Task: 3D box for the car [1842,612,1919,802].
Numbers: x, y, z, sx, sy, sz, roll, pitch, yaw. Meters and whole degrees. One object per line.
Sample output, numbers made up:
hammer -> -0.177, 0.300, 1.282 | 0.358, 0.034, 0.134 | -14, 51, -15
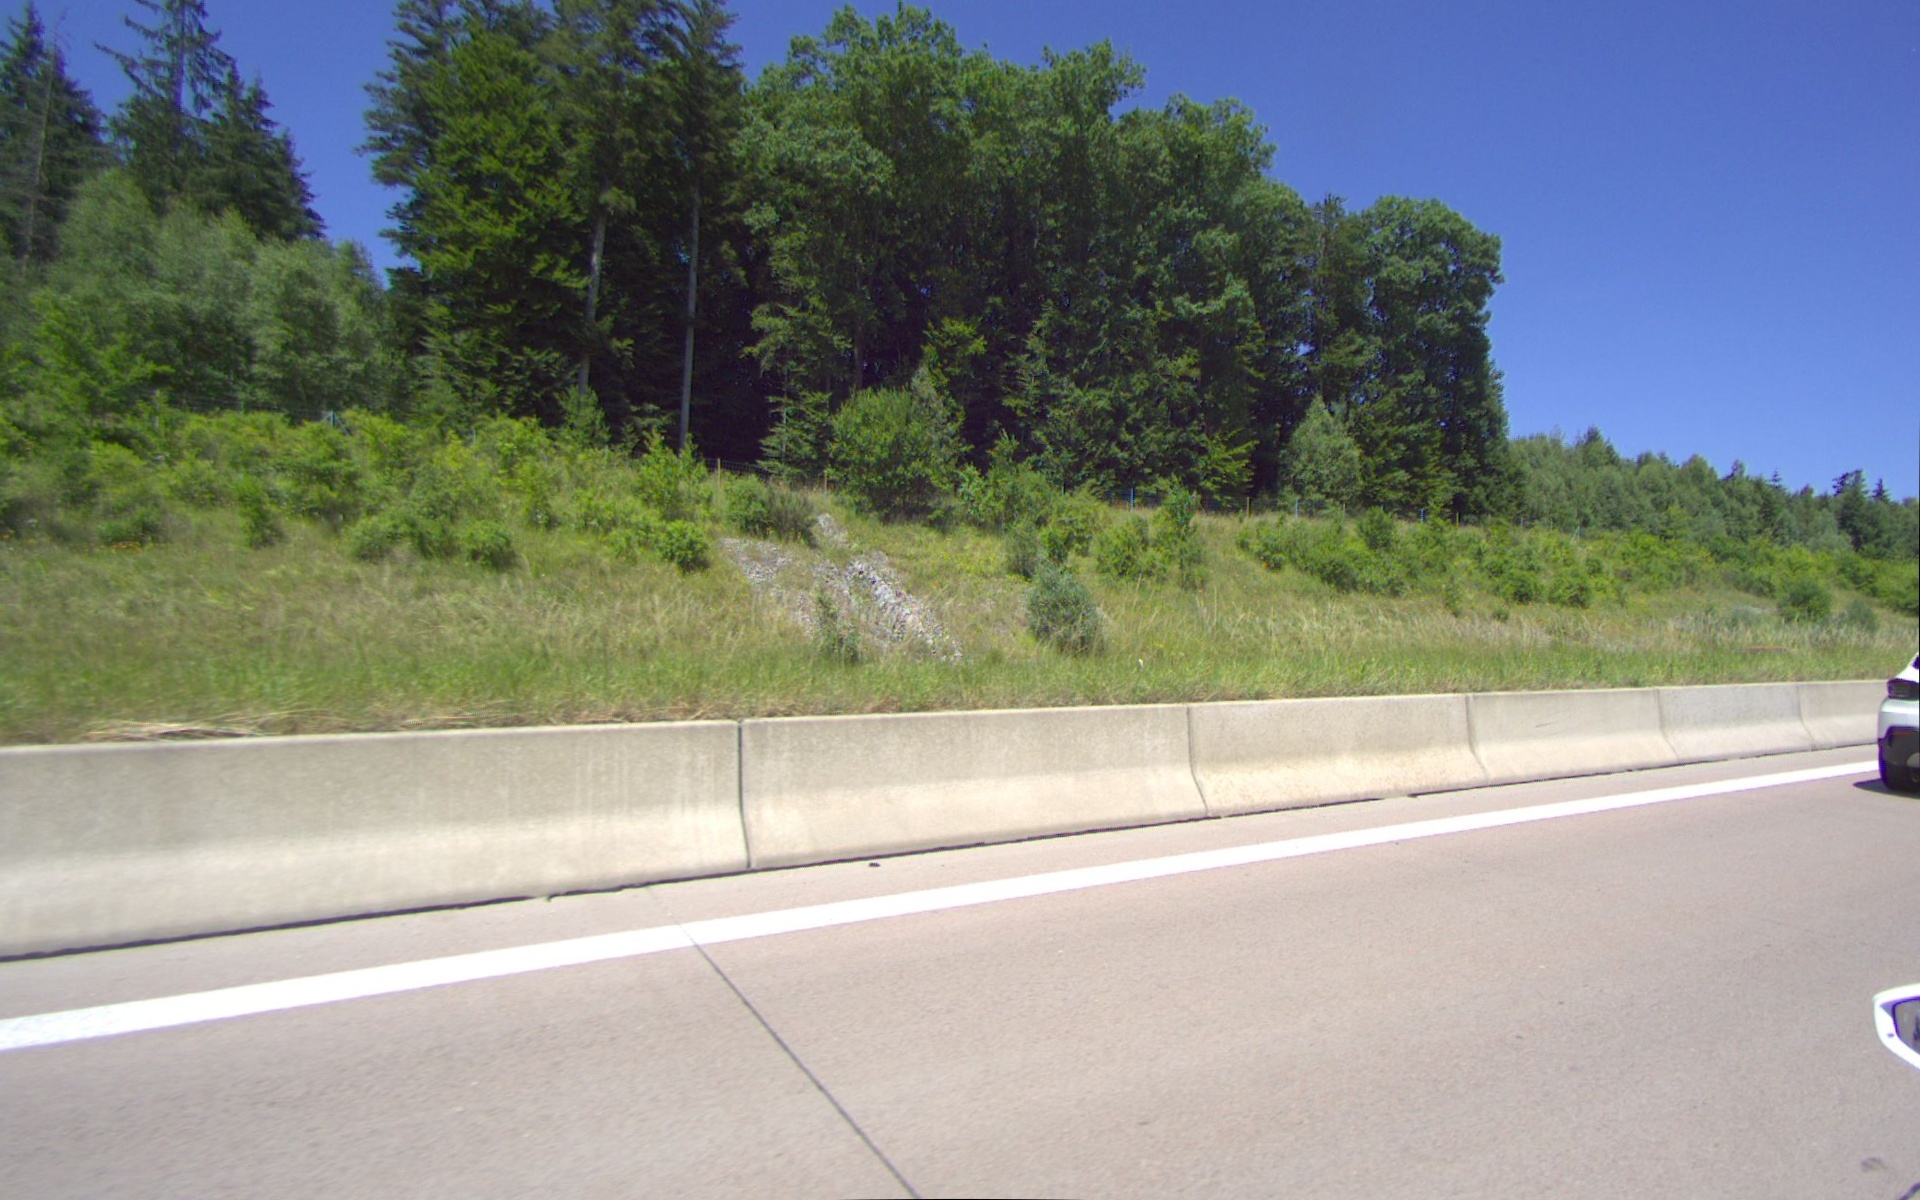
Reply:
car -> 10.525, 0.982, 9.515 | 4.778, 1.629, 1.870 | 2, -1, -31
